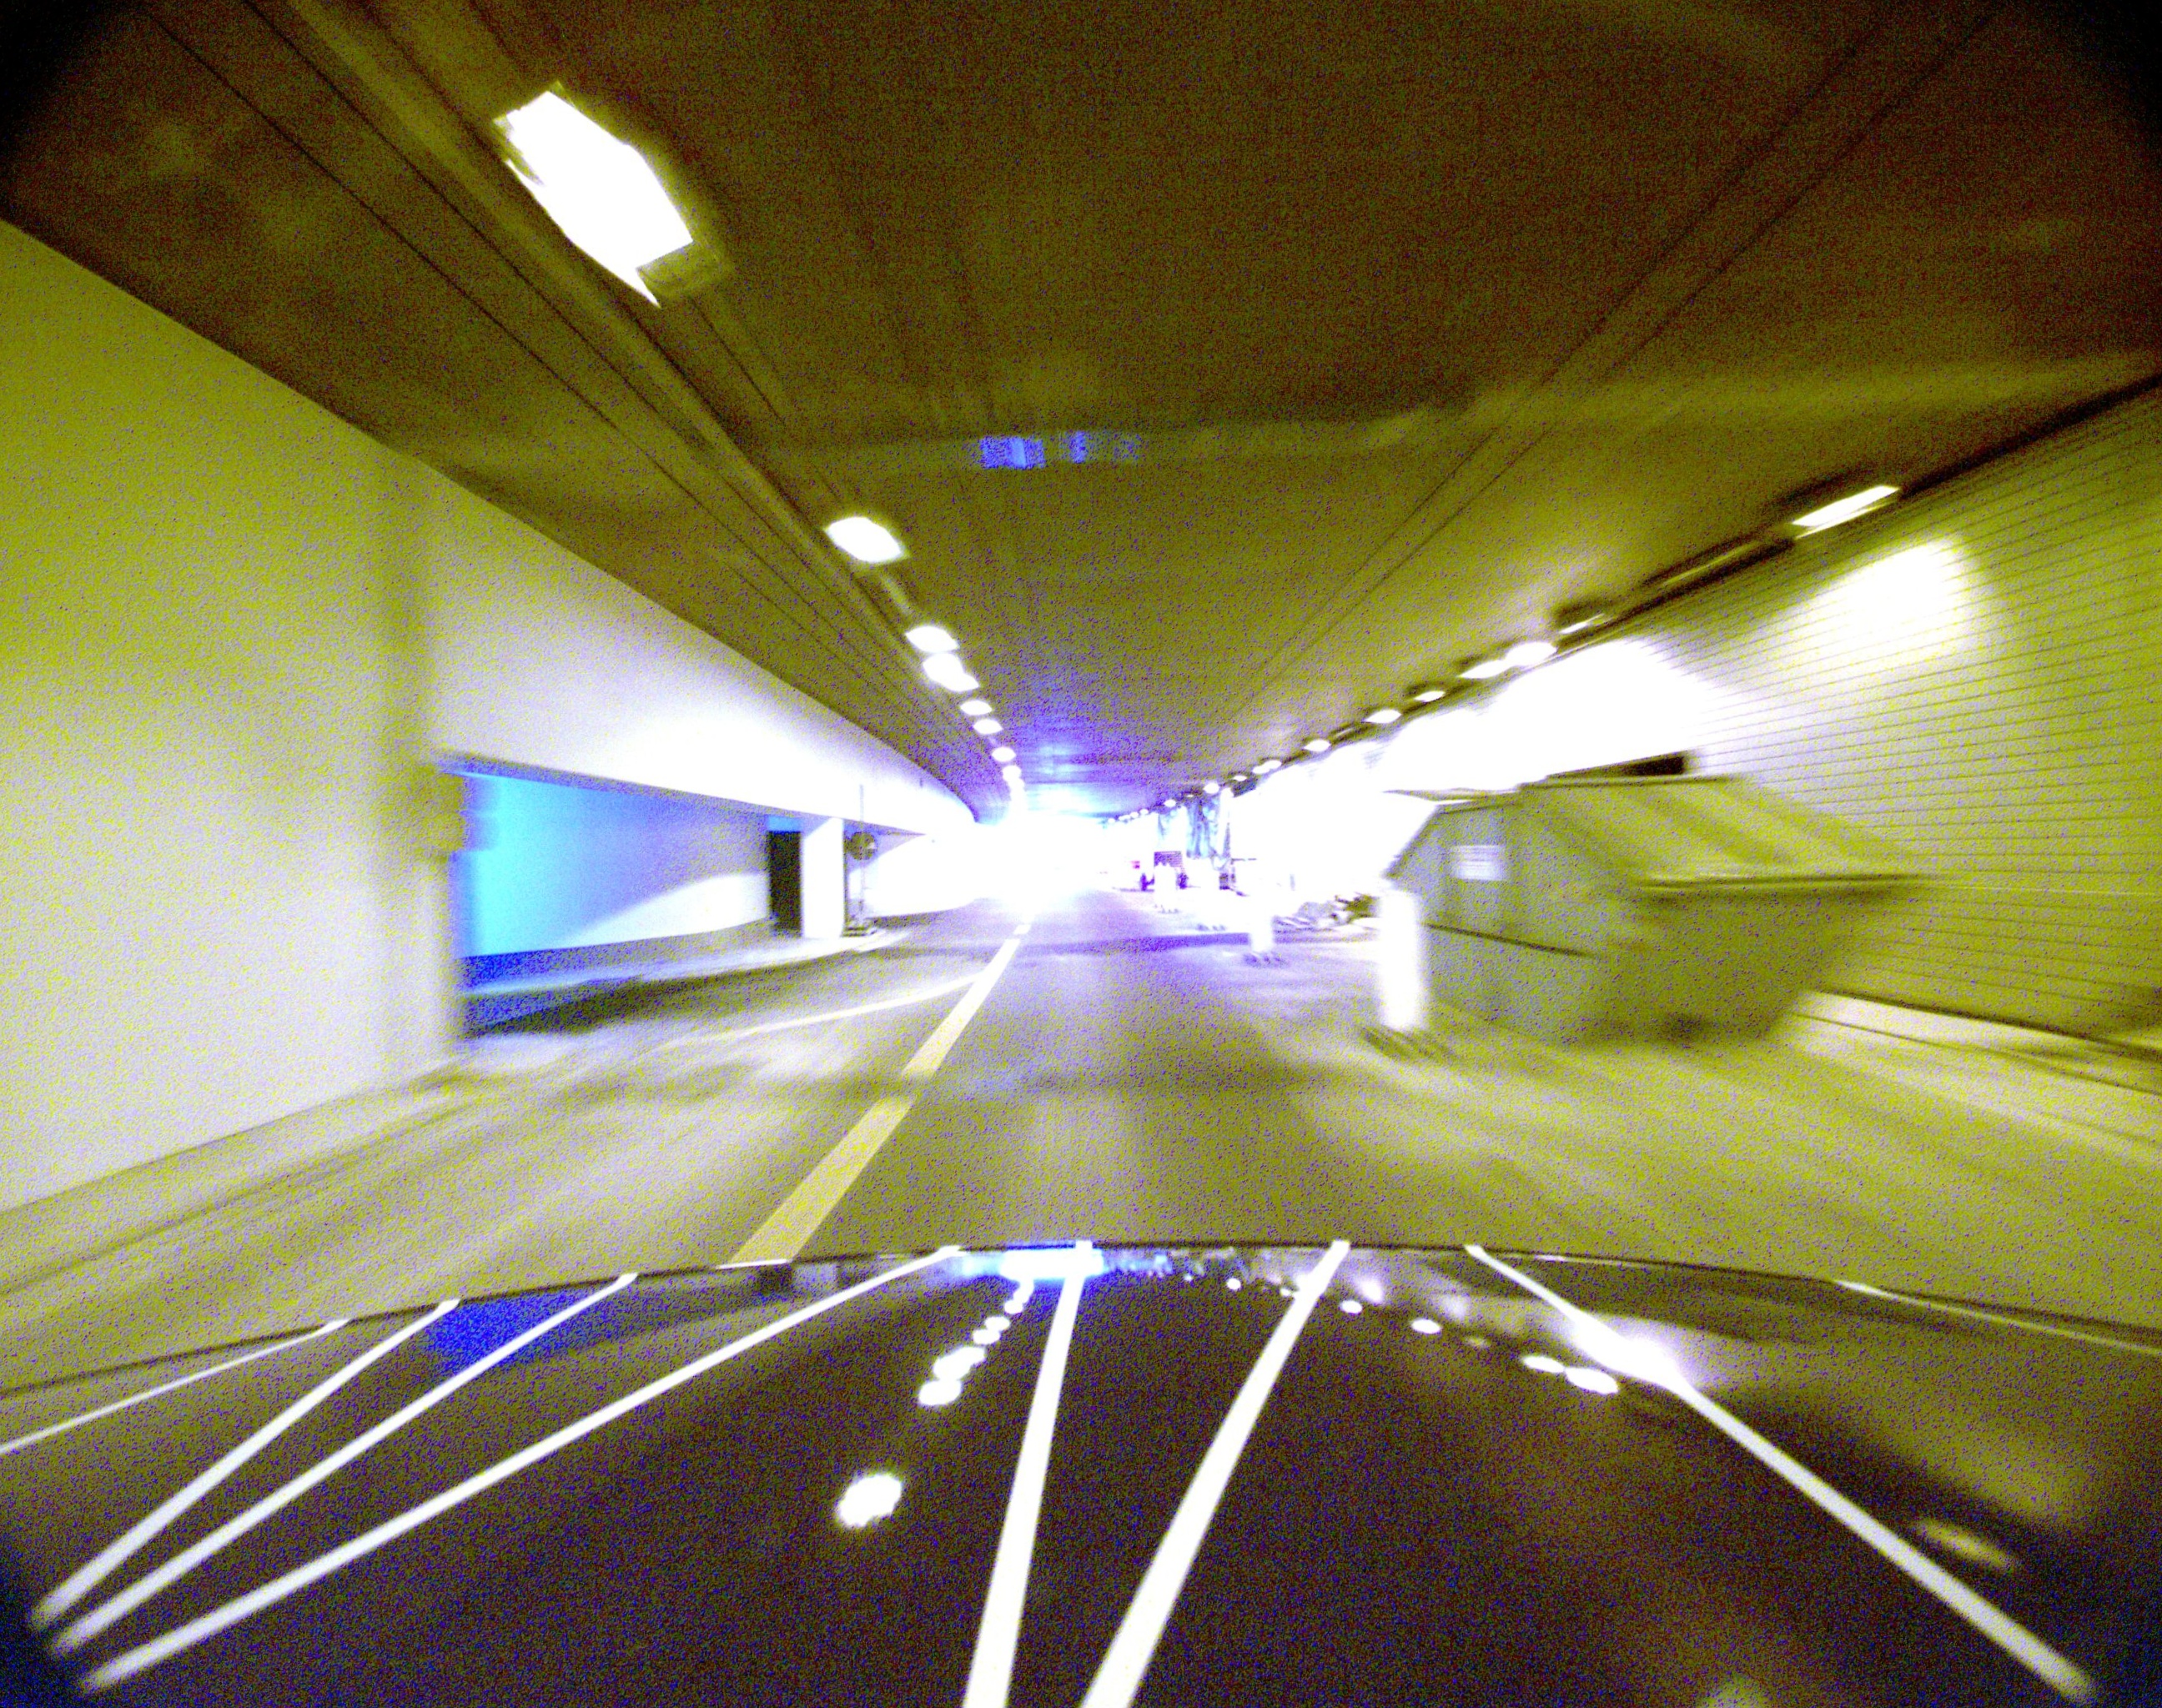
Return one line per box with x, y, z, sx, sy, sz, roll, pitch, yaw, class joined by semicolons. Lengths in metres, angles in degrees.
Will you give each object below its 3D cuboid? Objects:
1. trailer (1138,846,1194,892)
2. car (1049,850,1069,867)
3.509;0.584;31.772;1.644;1.781;3.120;-2;1;-6;trailer
-2.371;0.484;81.635;1.999;1.743;3.998;-2;1;-4;car
